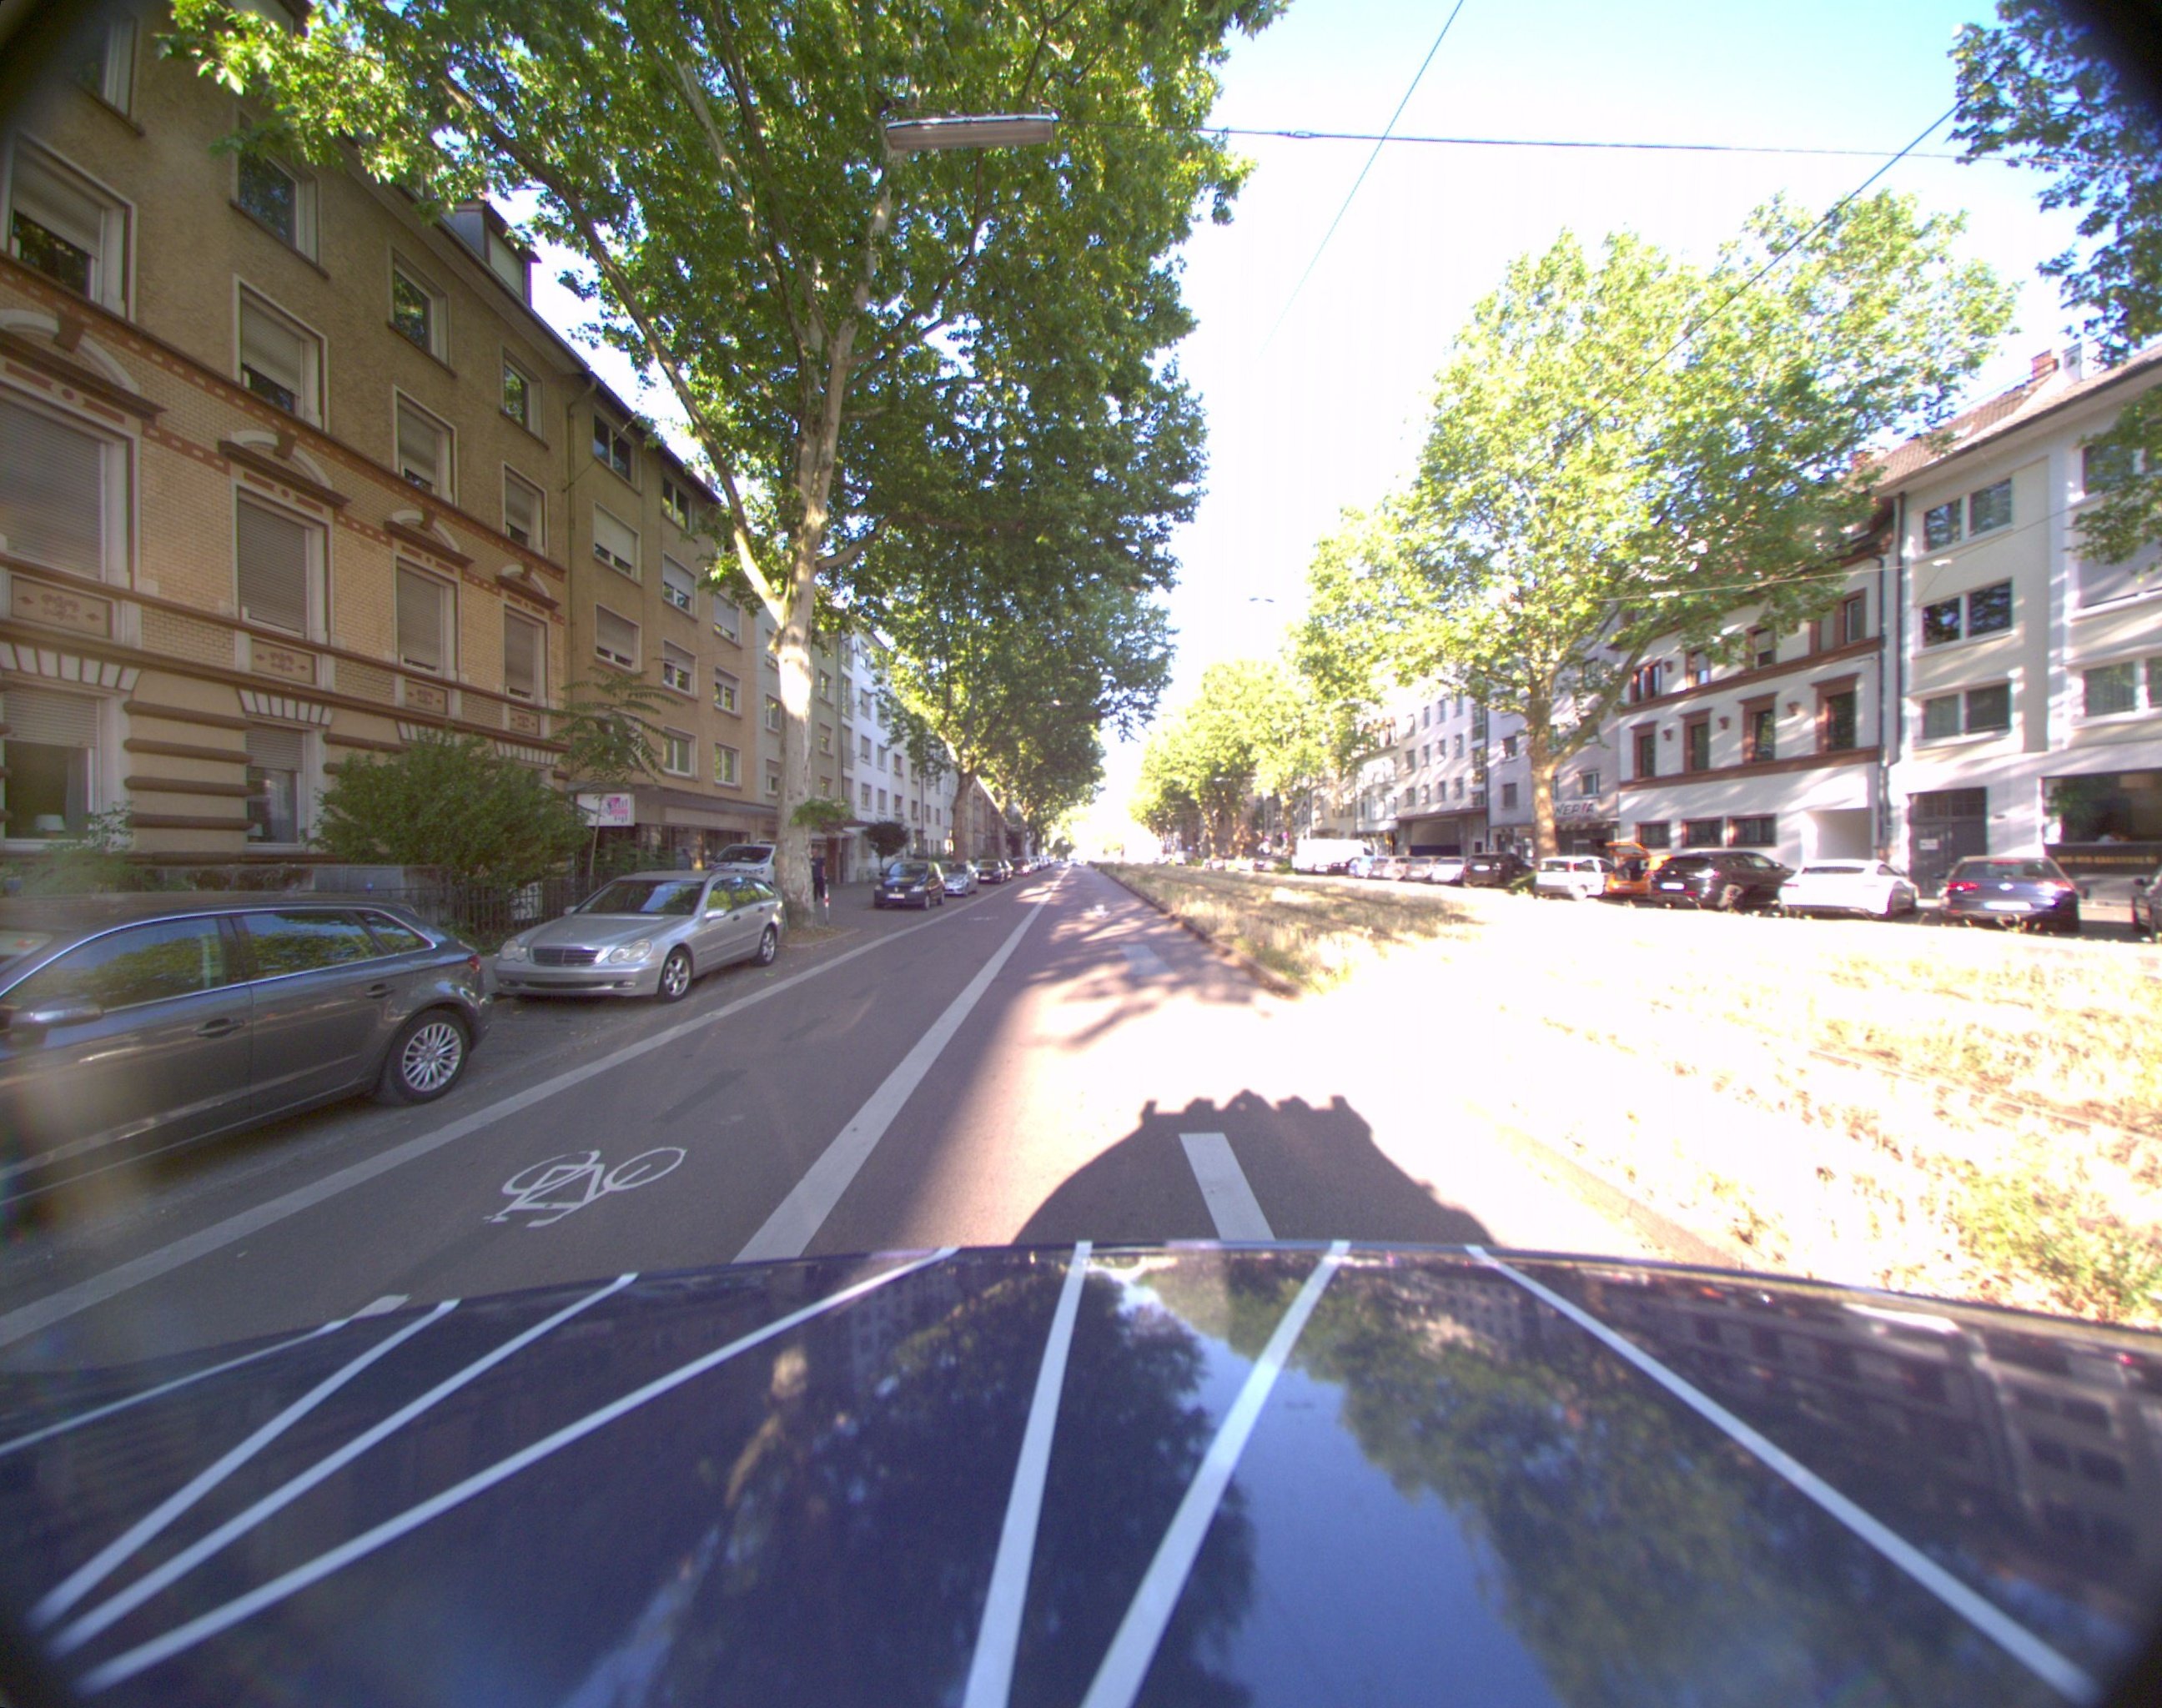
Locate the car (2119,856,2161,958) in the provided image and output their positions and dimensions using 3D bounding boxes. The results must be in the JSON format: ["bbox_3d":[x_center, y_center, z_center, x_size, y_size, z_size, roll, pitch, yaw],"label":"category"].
[{"bbox_3d":[19.058,0.827,12.691,4.007,1.433,1.717,-3,1,-41],"label":"car"}]

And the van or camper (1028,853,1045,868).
[{"bbox_3d":[-5.411,0.776,92.708,1.790,1.710,4.379,1,0,1],"label":"van or camper"}]

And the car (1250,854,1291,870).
[{"bbox_3d":[19.220,0.823,76.934,4.008,1.524,1.821,1,-1,-36],"label":"car"}]

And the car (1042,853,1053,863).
[{"bbox_3d":[-5.597,0.722,127.094,1.791,1.585,4.013,1,0,-2],"label":"car"}]

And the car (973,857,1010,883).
[{"bbox_3d":[-5.316,0.926,45.680,1.713,1.407,4.363,2,0,0],"label":"car"}]

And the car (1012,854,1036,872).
[{"bbox_3d":[-5.483,0.819,73.267,1.999,1.557,4.663,2,1,0],"label":"car"}]

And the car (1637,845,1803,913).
[{"bbox_3d":[18.299,0.699,21.758,4.370,1.776,1.989,1,1,-26],"label":"car"}]

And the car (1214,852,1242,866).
[{"bbox_3d":[18.832,0.654,97.413,1.726,1.643,4.009,-1,-1,40],"label":"car"}]

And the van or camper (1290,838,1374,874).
[{"bbox_3d":[18.983,0.110,57.459,5.974,2.631,2.175,-1,0,-20],"label":"van or camper"}]

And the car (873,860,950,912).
[{"bbox_3d":[-5.426,0.973,24.725,1.658,1.536,3.999,0,0,-1],"label":"car"}]

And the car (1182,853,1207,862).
[{"bbox_3d":[18.976,0.611,127.203,4.006,1.240,1.726,-4,1,-34],"label":"car"}]

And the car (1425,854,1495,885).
[{"bbox_3d":[18.929,0.759,37.892,4.008,1.377,1.907,-2,0,-45],"label":"car"}]

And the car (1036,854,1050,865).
[{"bbox_3d":[-5.485,0.798,109.731,1.790,1.609,3.829,1,0,0],"label":"car"}]

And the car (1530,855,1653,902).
[{"bbox_3d":[18.040,0.825,26.819,4.369,1.440,1.655,-2,1,-26],"label":"car"}]

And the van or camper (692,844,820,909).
[{"bbox_3d":[-10.435,0.645,24.960,1.947,1.911,5.390,0,0,-1],"label":"van or camper"}]

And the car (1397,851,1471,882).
[{"bbox_3d":[19.062,0.652,40.956,4.006,1.414,1.752,-3,1,-34],"label":"car"}]

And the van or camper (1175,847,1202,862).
[{"bbox_3d":[18.362,0.048,129.726,4.371,2.386,2.196,-4,2,-40],"label":"van or camper"}]

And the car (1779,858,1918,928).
[{"bbox_3d":[18.653,0.869,18.409,4.212,1.325,1.718,-3,1,-36],"label":"car"}]

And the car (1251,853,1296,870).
[{"bbox_3d":[18.646,0.736,73.554,4.169,1.583,1.932,2,-1,-36],"label":"car"}]

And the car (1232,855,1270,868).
[{"bbox_3d":[18.210,0.802,81.438,3.687,1.382,1.822,-1,0,-31],"label":"car"}]

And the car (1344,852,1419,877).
[{"bbox_3d":[18.963,0.648,48.023,3.998,1.412,1.857,-3,1,-4],"label":"car"}]

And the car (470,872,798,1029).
[{"bbox_3d":[-5.341,1.025,9.931,1.678,1.443,4.570,0,0,-2],"label":"car"}]

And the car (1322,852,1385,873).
[{"bbox_3d":[19.703,0.617,54.948,4.004,1.482,1.996,0,0,-22],"label":"car"}]

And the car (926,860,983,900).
[{"bbox_3d":[-5.309,1.059,32.481,1.699,1.533,4.776,0,0,-1],"label":"car"}]

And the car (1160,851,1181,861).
[{"bbox_3d":[18.316,0.405,154.814,4.007,2.002,1.995,-3,1,-42],"label":"car"}]

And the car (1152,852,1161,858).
[{"bbox_3d":[20.189,0.357,202.883,1.998,1.412,4.000,-2,1,2],"label":"car"}]

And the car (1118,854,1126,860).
[{"bbox_3d":[11.075,0.737,204.931,1.997,1.477,4.002,-2,1,8],"label":"car"}]

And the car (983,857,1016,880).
[{"bbox_3d":[-5.401,0.935,50.571,1.713,1.407,4.363,2,0,0],"label":"car"}]

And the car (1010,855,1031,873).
[{"bbox_3d":[-5.281,0.868,66.491,1.748,1.455,4.024,0,0,-5],"label":"car"}]

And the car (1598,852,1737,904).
[{"bbox_3d":[19.500,0.747,25.269,4.003,1.471,1.774,-3,1,-20],"label":"car"}]

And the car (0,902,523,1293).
[{"bbox_3d":[-5.180,1.068,3.665,1.714,1.388,4.321,0,0,1],"label":"car"}]

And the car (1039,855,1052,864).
[{"bbox_3d":[-5.610,0.846,119.804,1.790,1.458,3.569,1,0,0],"label":"car"}]

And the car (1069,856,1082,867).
[{"bbox_3d":[-0.837,1.177,120.586,1.893,1.501,4.000,-2,1,1],"label":"car"}]

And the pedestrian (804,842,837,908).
[{"bbox_3d":[-8.062,0.623,23.562,0.684,2.002,1.012,0,1,-2],"label":"pedestrian"}]

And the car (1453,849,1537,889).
[{"bbox_3d":[18.687,0.648,34.239,4.008,1.651,1.995,-1,0,-41],"label":"car"}]

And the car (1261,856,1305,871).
[{"bbox_3d":[18.699,0.832,70.267,4.014,1.349,1.797,1,0,-37],"label":"car"}]

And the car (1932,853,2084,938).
[{"bbox_3d":[19.363,0.785,16.032,4.007,1.433,1.797,-3,1,-43],"label":"car"}]

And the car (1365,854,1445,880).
[{"bbox_3d":[19.173,0.753,45.088,4.002,1.483,1.948,0,0,-13],"label":"car"}]

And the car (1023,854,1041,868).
[{"bbox_3d":[-5.545,0.803,86.410,1.702,1.517,4.194,0,0,0],"label":"car"}]

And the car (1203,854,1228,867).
[{"bbox_3d":[15.044,0.683,85.124,1.825,1.382,4.483,2,0,-1],"label":"car"}]
